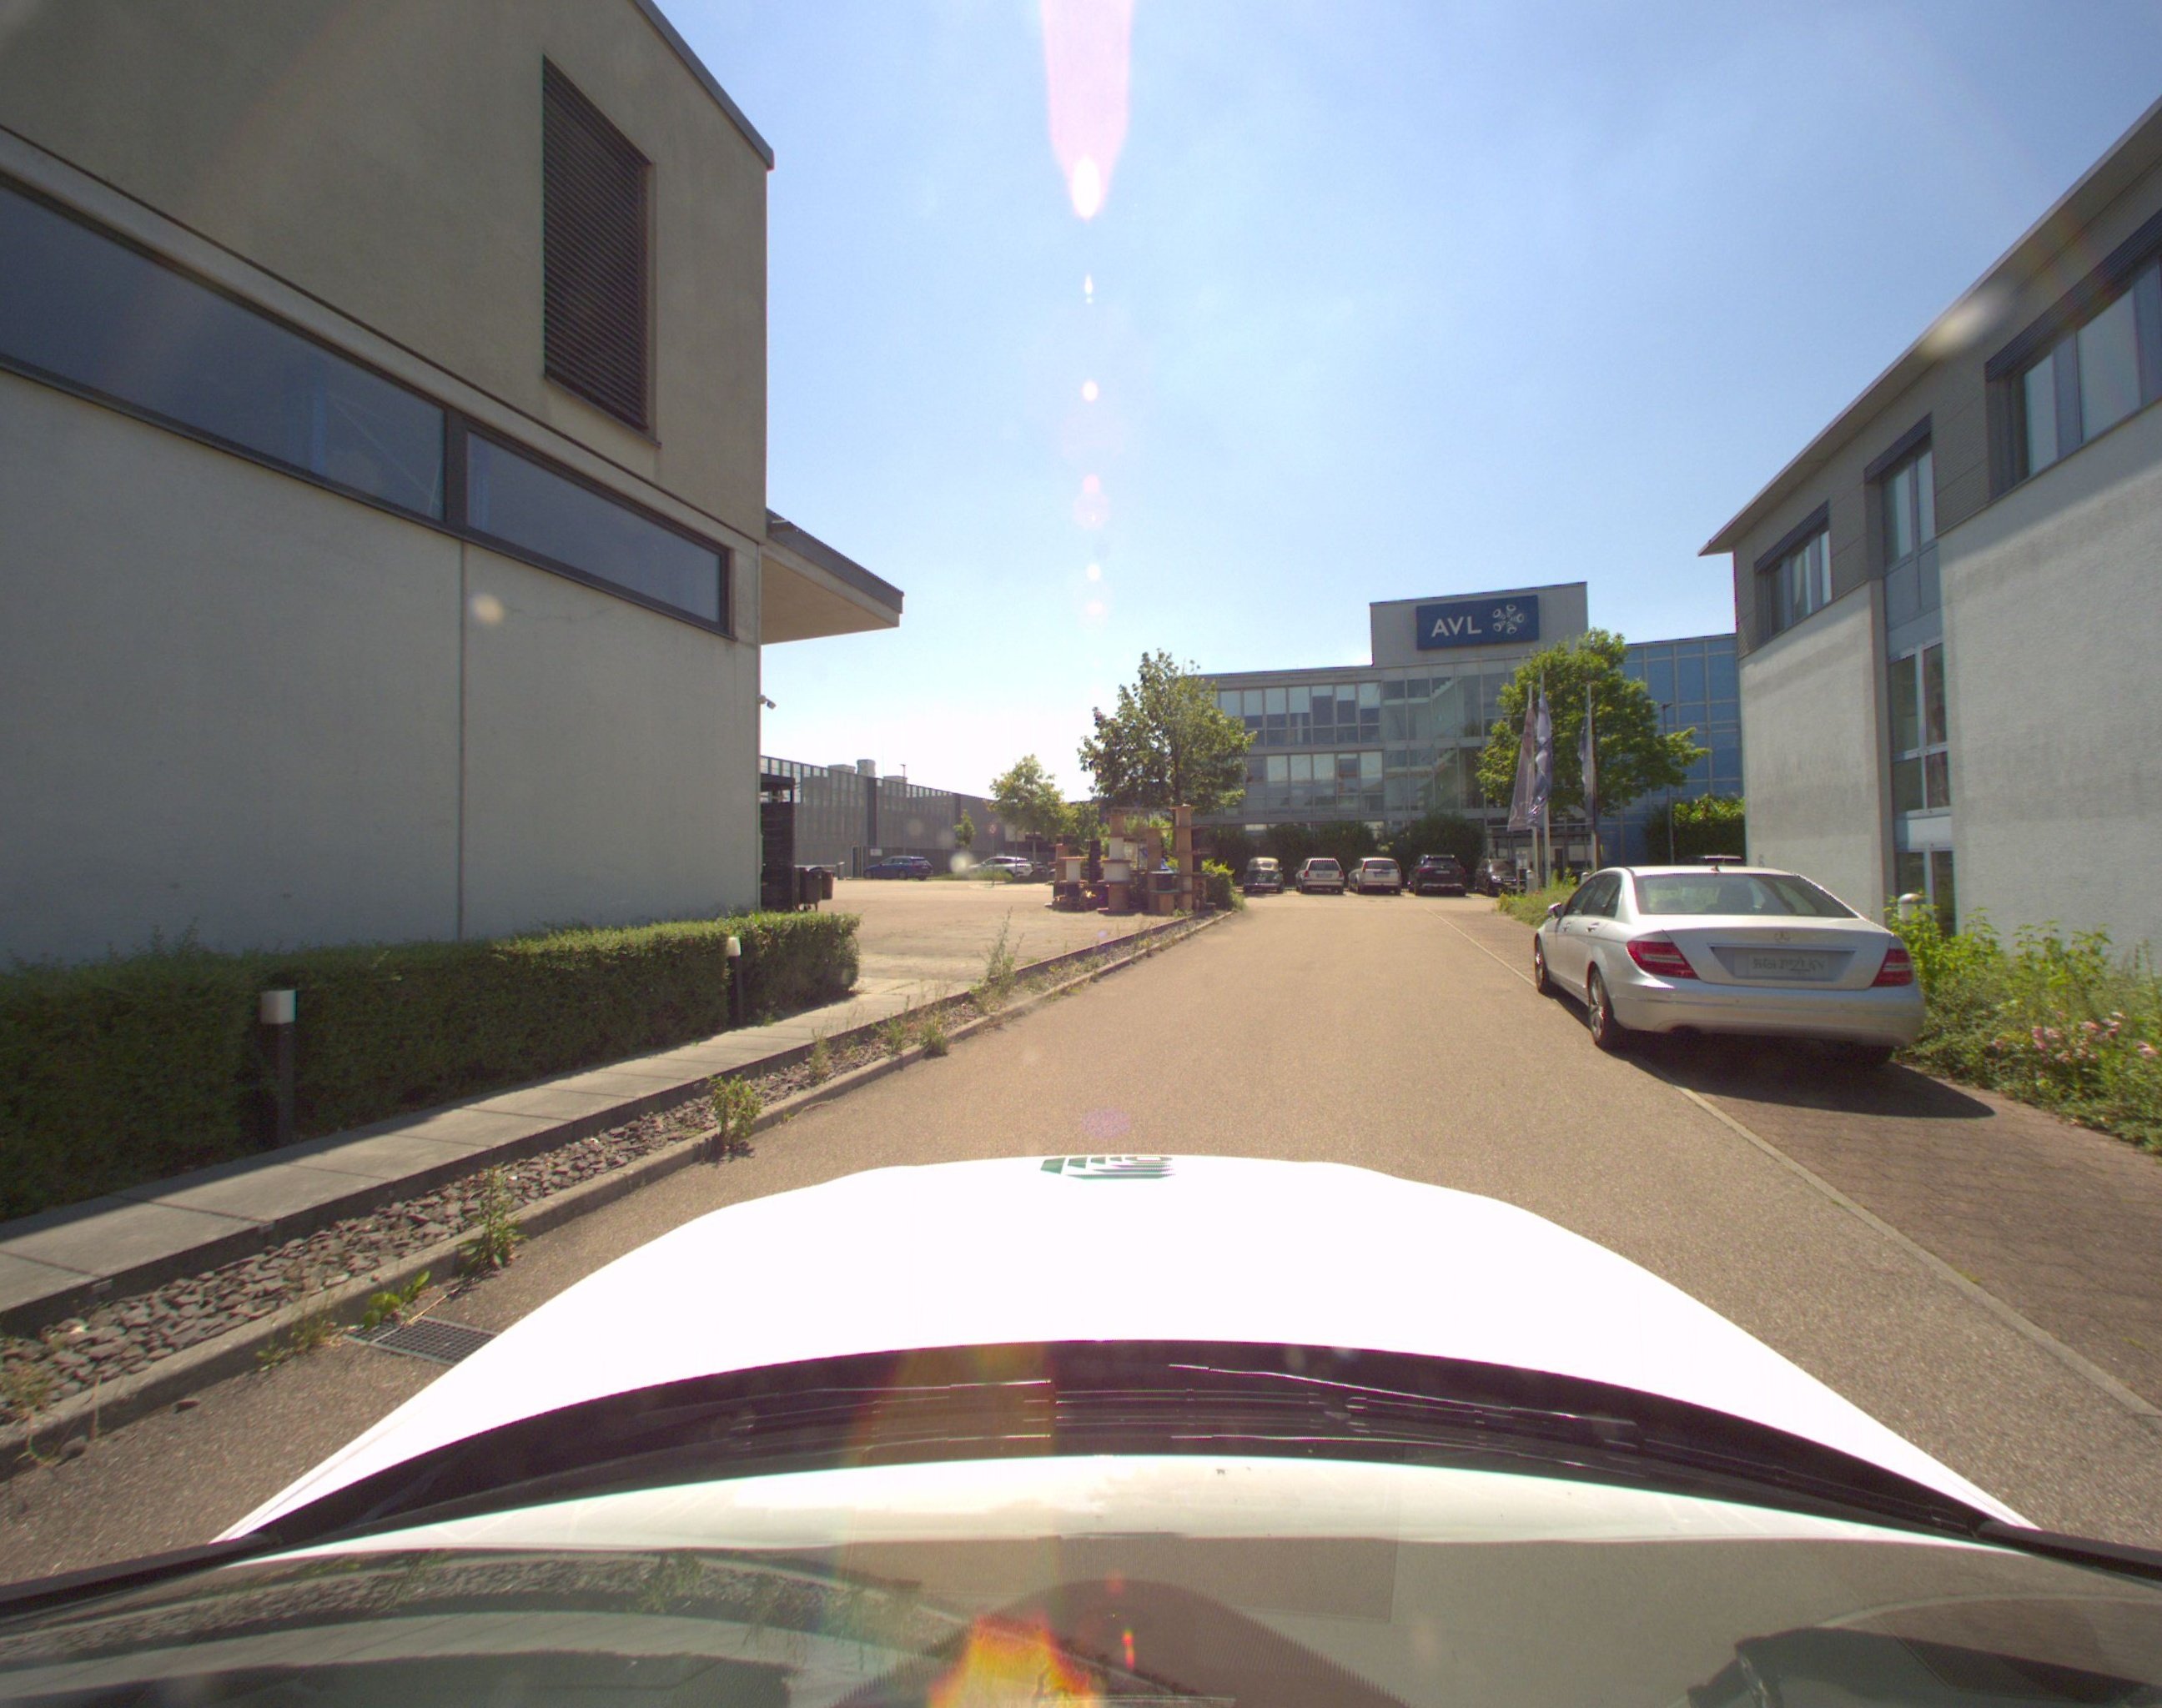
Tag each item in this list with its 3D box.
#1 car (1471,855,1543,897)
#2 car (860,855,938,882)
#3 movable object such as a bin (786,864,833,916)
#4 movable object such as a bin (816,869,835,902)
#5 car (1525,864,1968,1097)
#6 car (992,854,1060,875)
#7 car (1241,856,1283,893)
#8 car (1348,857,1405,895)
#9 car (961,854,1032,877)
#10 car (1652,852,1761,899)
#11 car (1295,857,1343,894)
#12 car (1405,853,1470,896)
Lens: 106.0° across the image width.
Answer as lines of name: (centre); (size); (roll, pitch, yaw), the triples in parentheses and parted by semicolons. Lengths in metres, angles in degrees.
car: (16.754, 0.822, 32.223); (1.756, 1.482, 4.277); (-1, 0, 17)
car: (-11.032, 0.842, 49.287); (4.457, 1.491, 2.013); (0, 0, 32)
movable object such as a bin: (-7.252, 0.941, 21.772); (0.803, 1.345, 0.889); (-1, -1, 24)
movable object such as a bin: (-8.311, 1.017, 26.520); (0.578, 1.036, 0.423); (0, -1, -15)
car: (5.304, 0.798, 7.293); (1.784, 1.398, 4.442); (-1, -1, 21)
car: (-4.099, 0.767, 60.278); (4.792, 1.491, 2.013); (0, 0, 32)
car: (7.729, 0.829, 34.598); (1.530, 1.449, 3.669); (0, 0, 16)
car: (12.258, 0.868, 33.946); (1.753, 1.449, 3.666); (0, 0, 12)
car: (-6.050, 0.794, 57.867); (4.792, 1.491, 2.013); (0, 0, 32)
car: (23.249, 0.760, 30.469); (1.805, 1.619, 4.359); (-1, 0, 17)
car: (9.938, 0.853, 34.190); (1.720, 1.449, 3.666); (0, 0, 12)
car: (14.324, 0.769, 32.913); (1.912, 1.610, 4.004); (0, 0, 17)
